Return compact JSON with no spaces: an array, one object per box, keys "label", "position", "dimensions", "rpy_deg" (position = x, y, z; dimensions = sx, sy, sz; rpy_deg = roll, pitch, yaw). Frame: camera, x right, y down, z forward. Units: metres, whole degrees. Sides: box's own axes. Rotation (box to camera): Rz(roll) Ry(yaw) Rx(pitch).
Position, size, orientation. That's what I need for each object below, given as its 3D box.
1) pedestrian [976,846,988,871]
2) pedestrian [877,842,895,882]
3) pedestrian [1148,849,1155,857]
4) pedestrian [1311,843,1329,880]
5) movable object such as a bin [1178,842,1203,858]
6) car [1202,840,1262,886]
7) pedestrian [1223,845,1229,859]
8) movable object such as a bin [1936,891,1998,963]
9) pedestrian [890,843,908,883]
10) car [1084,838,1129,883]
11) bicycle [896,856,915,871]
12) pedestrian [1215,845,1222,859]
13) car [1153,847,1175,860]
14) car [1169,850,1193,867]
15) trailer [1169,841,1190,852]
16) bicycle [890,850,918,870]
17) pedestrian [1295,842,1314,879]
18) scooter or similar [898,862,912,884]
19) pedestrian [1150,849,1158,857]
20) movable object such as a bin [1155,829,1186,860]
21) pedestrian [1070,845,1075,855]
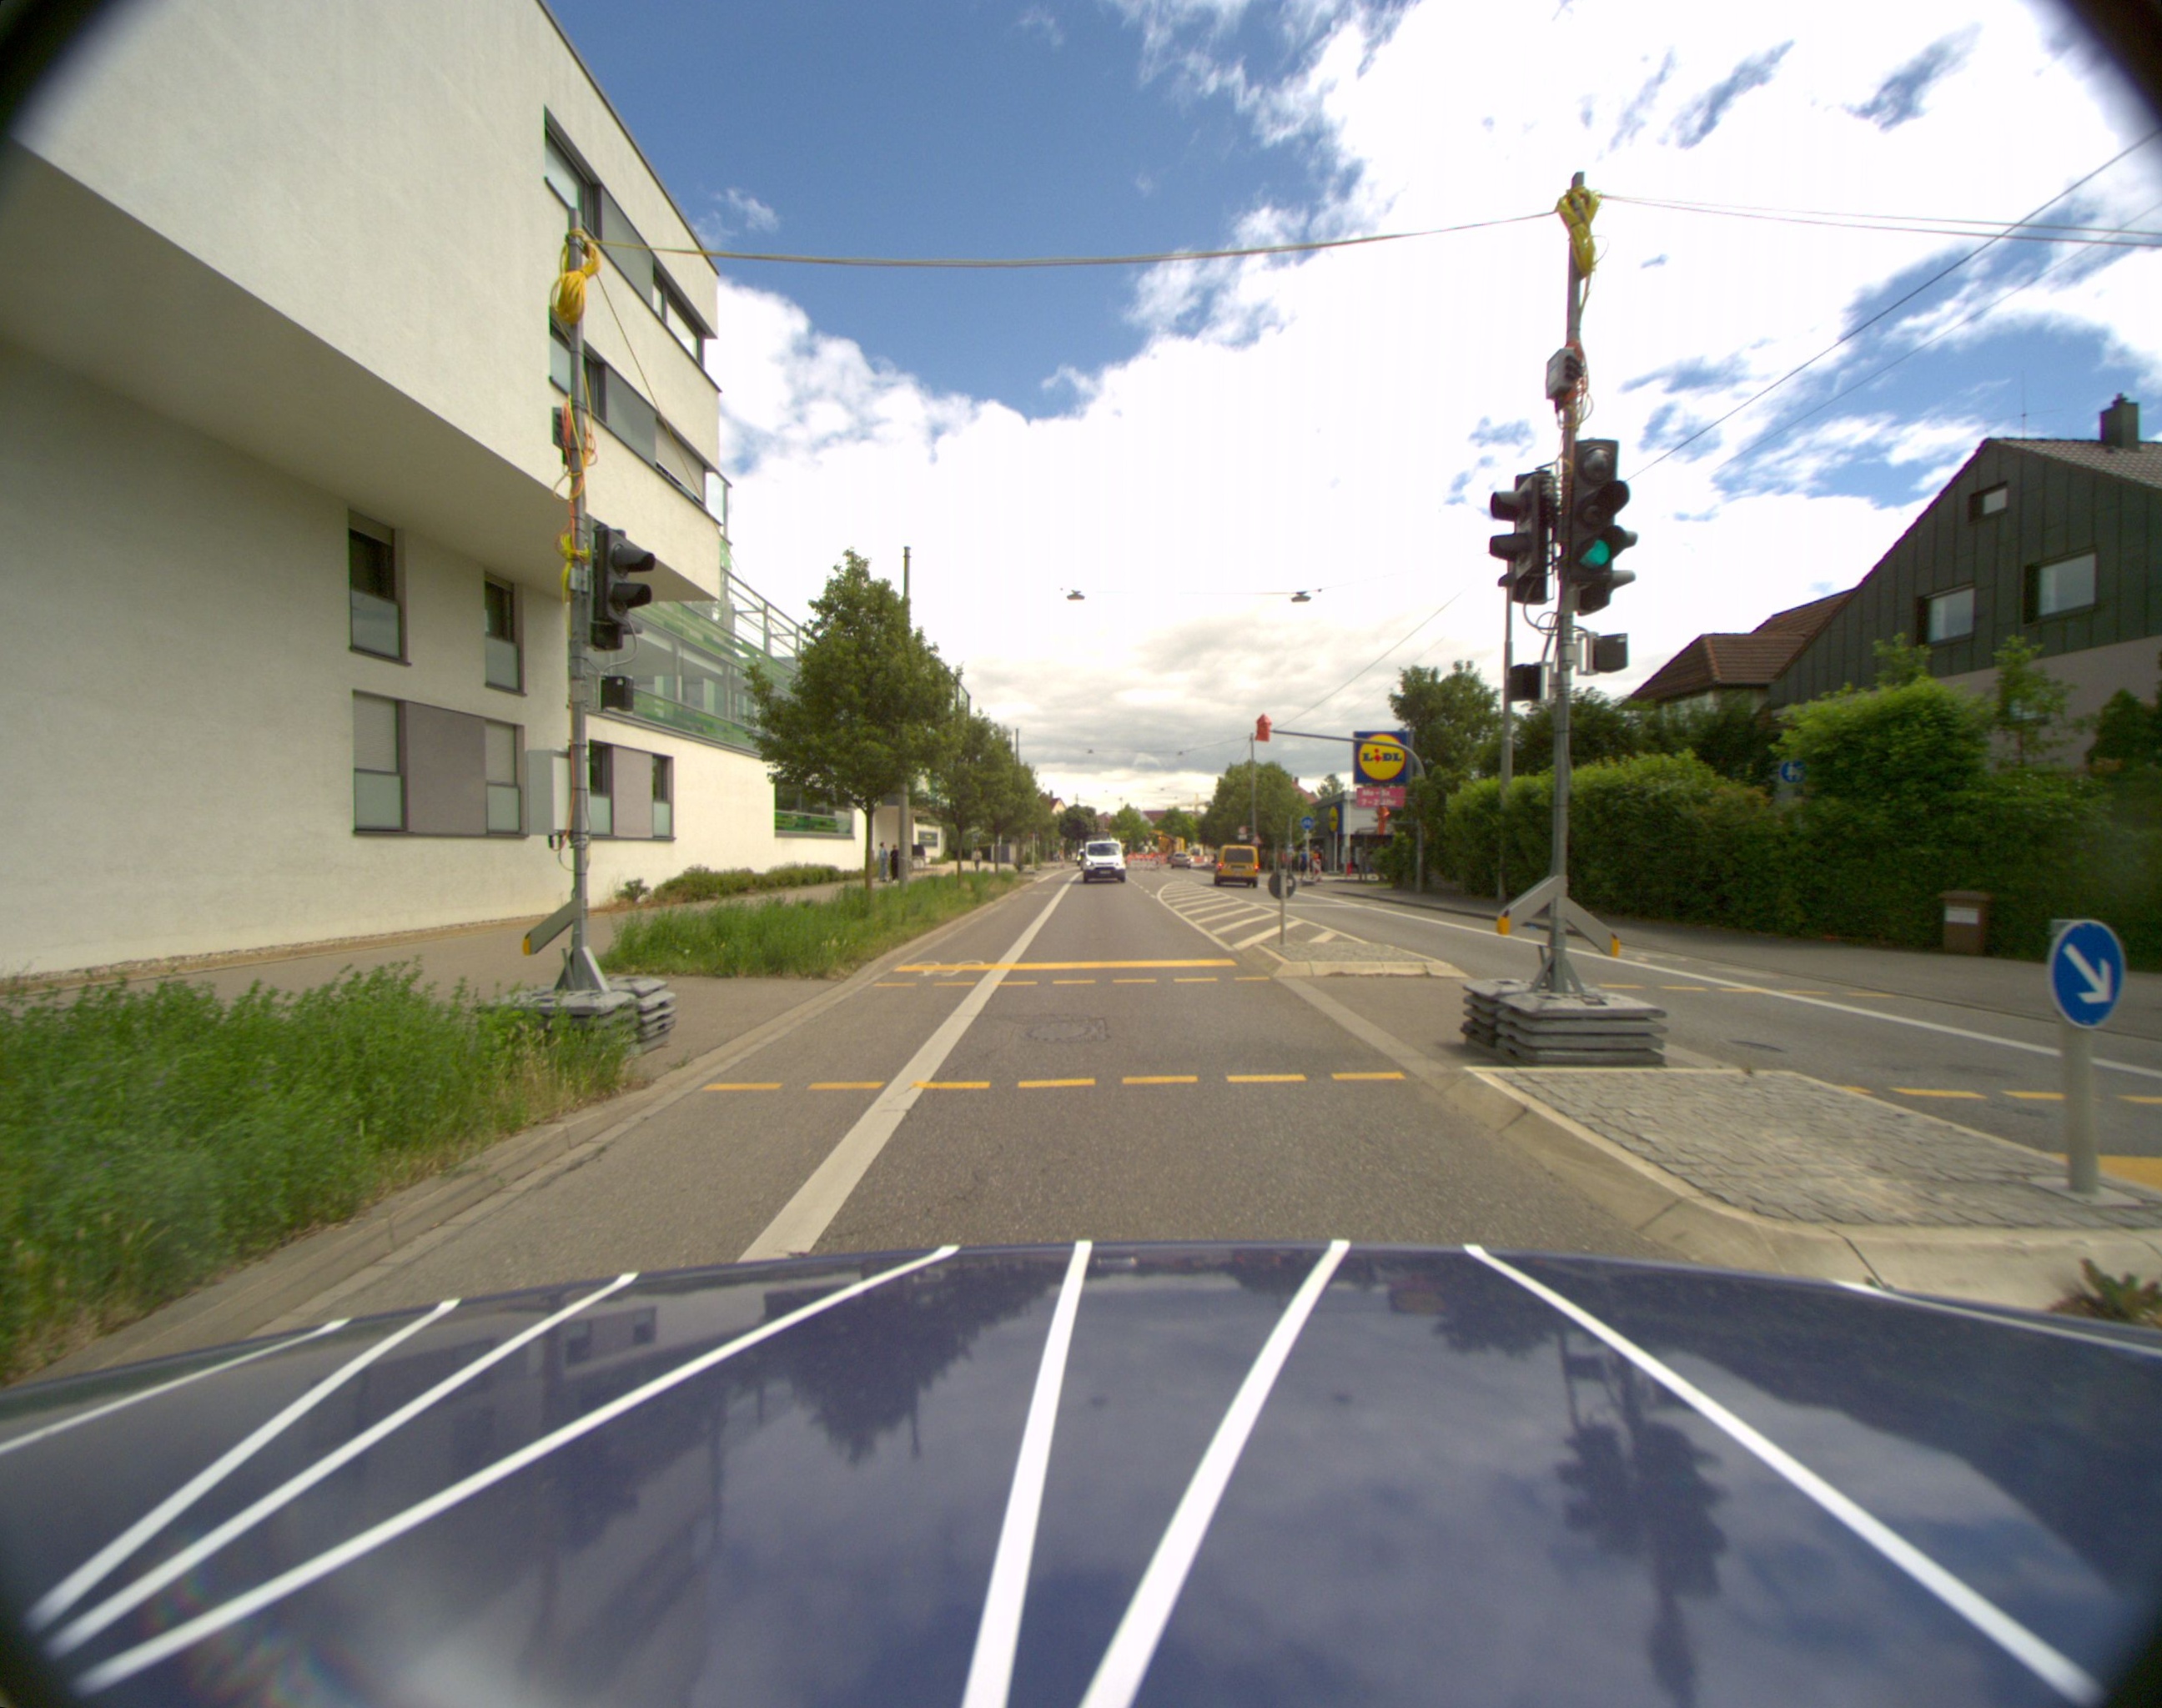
[{"label":"pedestrian","position":[-6.231,0.271,47.937],"dimensions":[0.582,1.543,0.869],"rpy_deg":[1,1,1]},{"label":"pedestrian","position":[-8.140,0.347,31.756],"dimensions":[0.551,1.645,0.607],"rpy_deg":[1,1,1]},{"label":"pedestrian","position":[9.547,-0.112,102.480],"dimensions":[0.641,0.985,0.795],"rpy_deg":[2,1,39]},{"label":"pedestrian","position":[12.155,0.355,38.645],"dimensions":[0.683,1.844,0.706],"rpy_deg":[1,2,1]},{"label":"movable object such as a bin","position":[19.285,-0.708,133.272],"dimensions":[1.994,2.610,6.535],"rpy_deg":[2,1,30]},{"label":"car","position":[6.745,0.358,34.379],"dimensions":[1.846,1.894,4.685],"rpy_deg":[1,1,1]},{"label":"pedestrian","position":[18.618,-0.279,97.413],"dimensions":[0.625,1.836,0.624],"rpy_deg":[1,1,30]},{"label":"movable object such as a bin","position":[12.611,1.018,10.828],"dimensions":[0.557,0.947,0.538],"rpy_deg":[-1,2,-42]},{"label":"pedestrian","position":[-7.531,0.362,31.422],"dimensions":[0.606,1.645,0.552],"rpy_deg":[1,1,1]},{"label":"car","position":[1.152,0.266,36.617],"dimensions":[1.998,2.002,5.512],"rpy_deg":[-1,1,0]},{"label":"bicycle","position":[-9.832,0.549,42.557],"dimensions":[1.027,0.837,0.306],"rpy_deg":[1,1,-31]},{"label":"pedestrian","position":[17.687,-0.275,97.478],"dimensions":[0.695,1.836,0.624],"rpy_deg":[1,1,30]},{"label":"car","position":[9.699,-0.041,89.189],"dimensions":[1.998,1.392,4.810],"rpy_deg":[2,1,1]},{"label":"car","position":[9.476,0.366,72.414],"dimensions":[1.753,1.546,4.402],"rpy_deg":[1,1,1]},{"label":"trailer","position":[21.309,-1.561,164.246],"dimensions":[2.594,2.232,5.685],"rpy_deg":[-2,-1,28]},{"label":"bicycle","position":[-9.649,0.337,41.455],"dimensions":[1.470,1.040,0.307],"rpy_deg":[1,1,-11]},{"label":"pedestrian","position":[11.381,0.313,38.748],"dimensions":[0.683,1.844,0.892],"rpy_deg":[1,2,1]},{"label":"scooter or similar","position":[-7.395,0.802,31.922],"dimensions":[0.422,0.900,0.682],"rpy_deg":[1,1,1]},{"label":"pedestrian","position":[9.842,-0.139,102.754],"dimensions":[0.791,0.985,0.813],"rpy_deg":[2,1,29]},{"label":"movable object such as a bin","position":[12.910,-1.361,108.368],"dimensions":[2.594,4.197,11.133],"rpy_deg":[2,1,15]},{"label":"pedestrian","position":[-1.205,-0.572,108.215],"dimensions":[0.522,1.531,0.636],"rpy_deg":[1,1,-5]}]
